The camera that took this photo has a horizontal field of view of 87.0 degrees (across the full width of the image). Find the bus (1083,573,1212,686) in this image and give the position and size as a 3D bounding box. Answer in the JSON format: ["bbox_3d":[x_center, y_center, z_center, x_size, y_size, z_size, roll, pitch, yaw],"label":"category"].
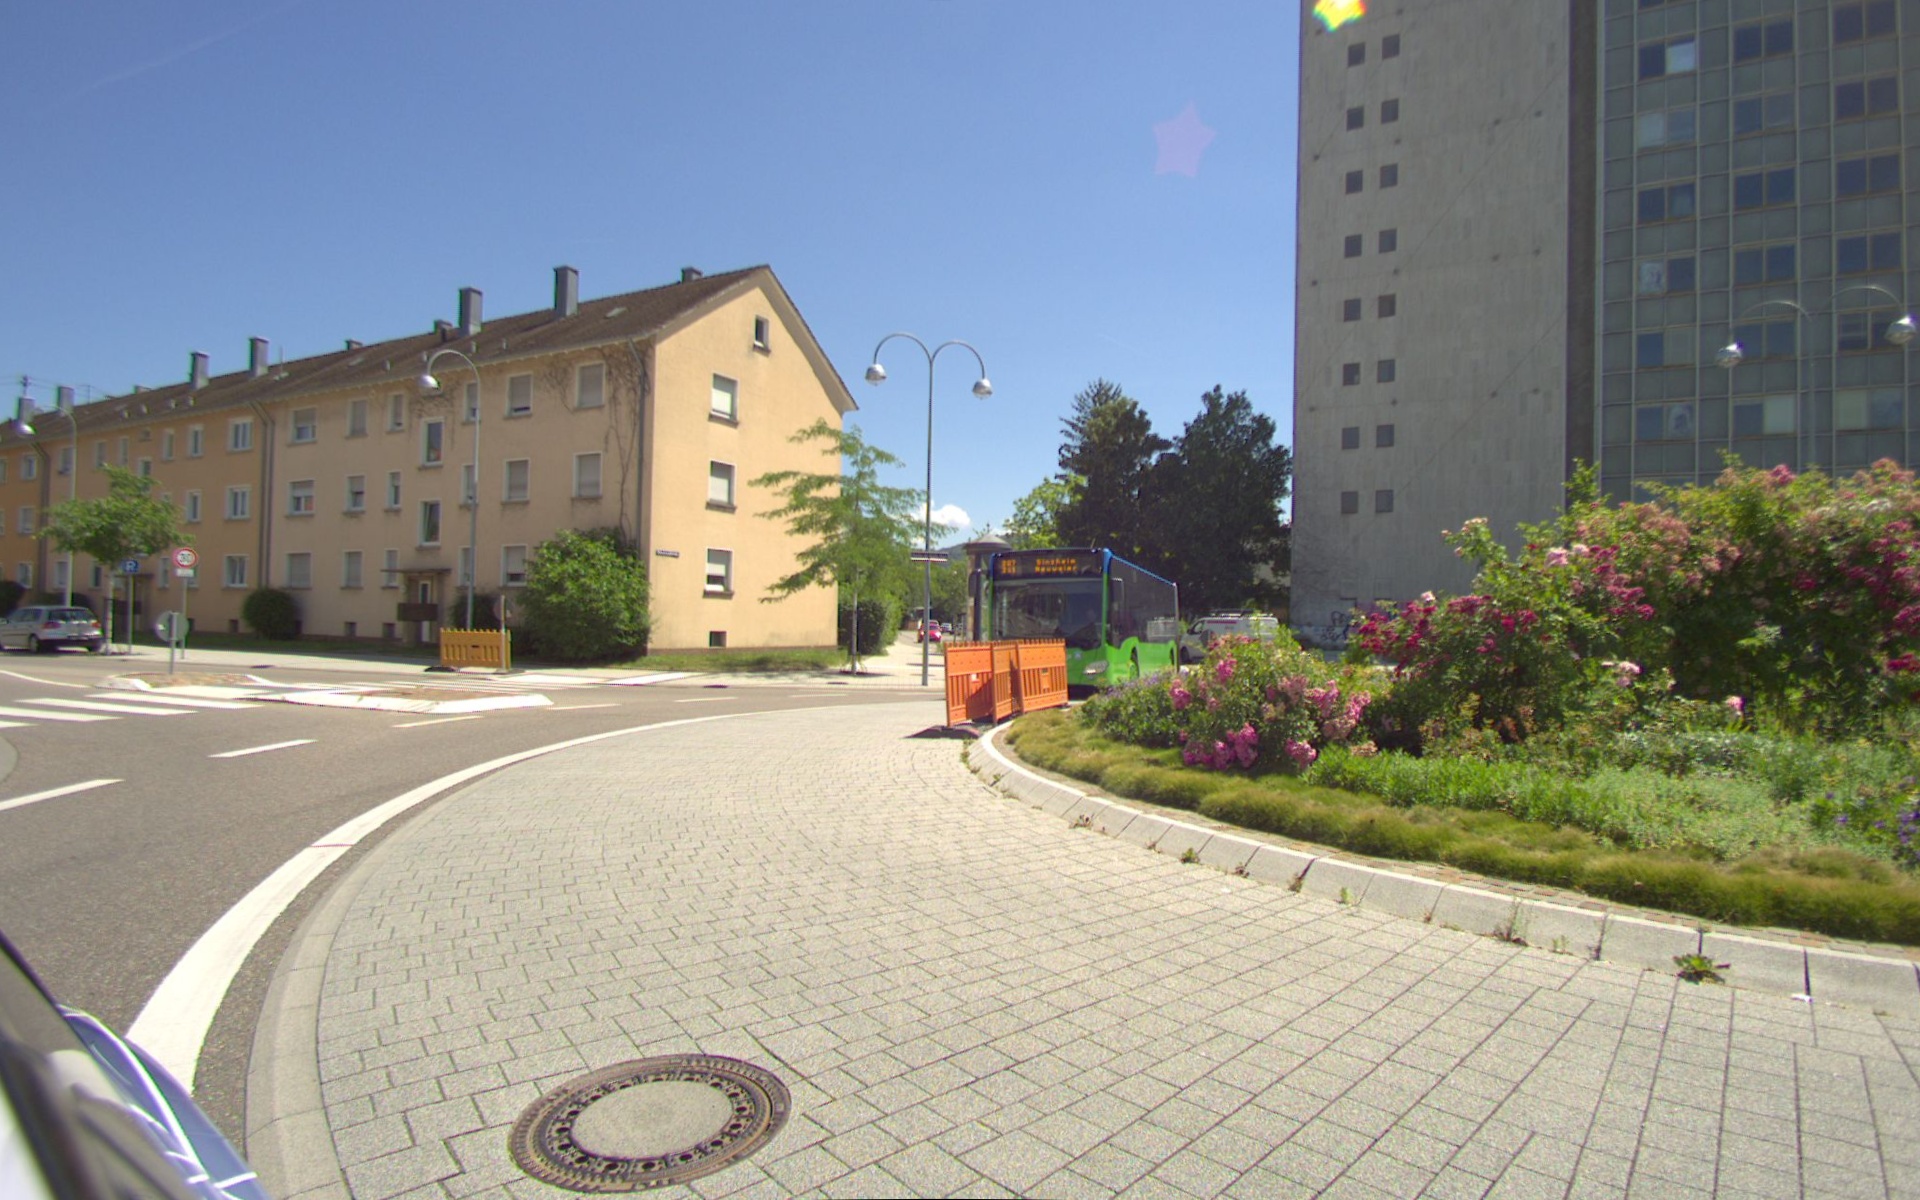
[{"bbox_3d":[6.310,0.892,32.812,2.808,3.134,8.867,-1,-1,19],"label":"bus"}]

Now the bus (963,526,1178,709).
[{"bbox_3d":[3.038,0.627,23.844,2.940,3.350,10.021,-2,-4,18],"label":"bus"}]

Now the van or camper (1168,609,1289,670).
[{"bbox_3d":[10.177,1.561,38.912,1.966,2.188,5.428,0,-3,-15],"label":"van or camper"}]

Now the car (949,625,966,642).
[{"bbox_3d":[-0.304,3.952,120.325,1.972,2.029,4.000,1,-1,-1],"label":"car"}]

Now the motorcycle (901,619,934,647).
[{"bbox_3d":[-3.213,2.494,76.450,1.968,2.029,4.008,1,-1,-10],"label":"motorcycle"}]

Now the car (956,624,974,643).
[{"bbox_3d":[0.576,3.779,115.165,1.972,2.029,4.000,1,-1,-1],"label":"car"}]

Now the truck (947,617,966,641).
[{"bbox_3d":[-0.488,3.910,137.705,2.456,3.204,8.449,1,-1,-1],"label":"truck"}]

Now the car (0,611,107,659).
[{"bbox_3d":[-29.588,1.075,32.369,4.064,1.431,1.984,0,-1,25],"label":"car"}]
